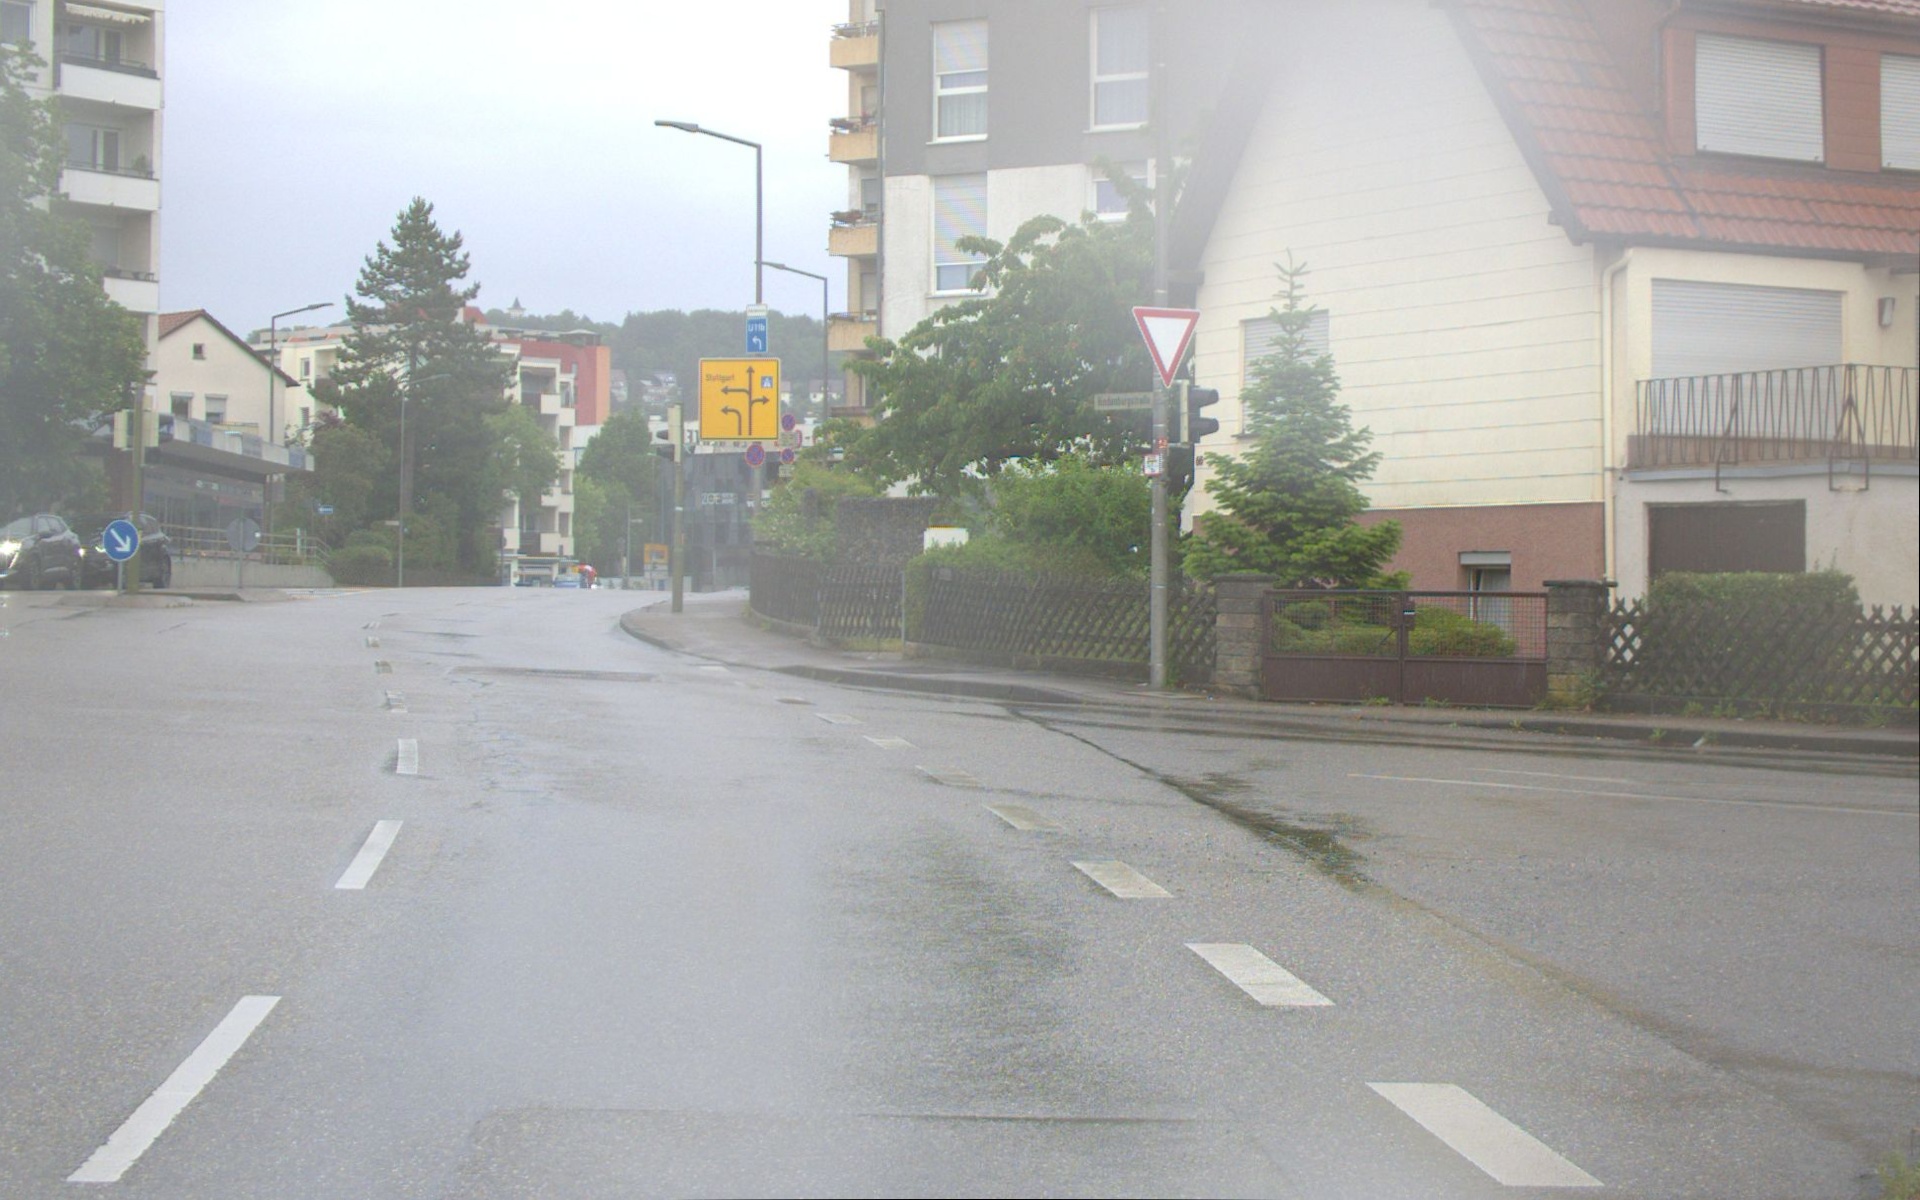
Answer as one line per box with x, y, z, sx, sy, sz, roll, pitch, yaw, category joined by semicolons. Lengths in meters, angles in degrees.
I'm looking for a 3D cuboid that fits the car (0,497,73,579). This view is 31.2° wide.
-18.395;-1.182;65.747;1.967;1.507;4.000;1;1;-2;car

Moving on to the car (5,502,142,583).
-18.328;-1.180;71.248;1.879;1.592;4.185;1;1;-2;car
